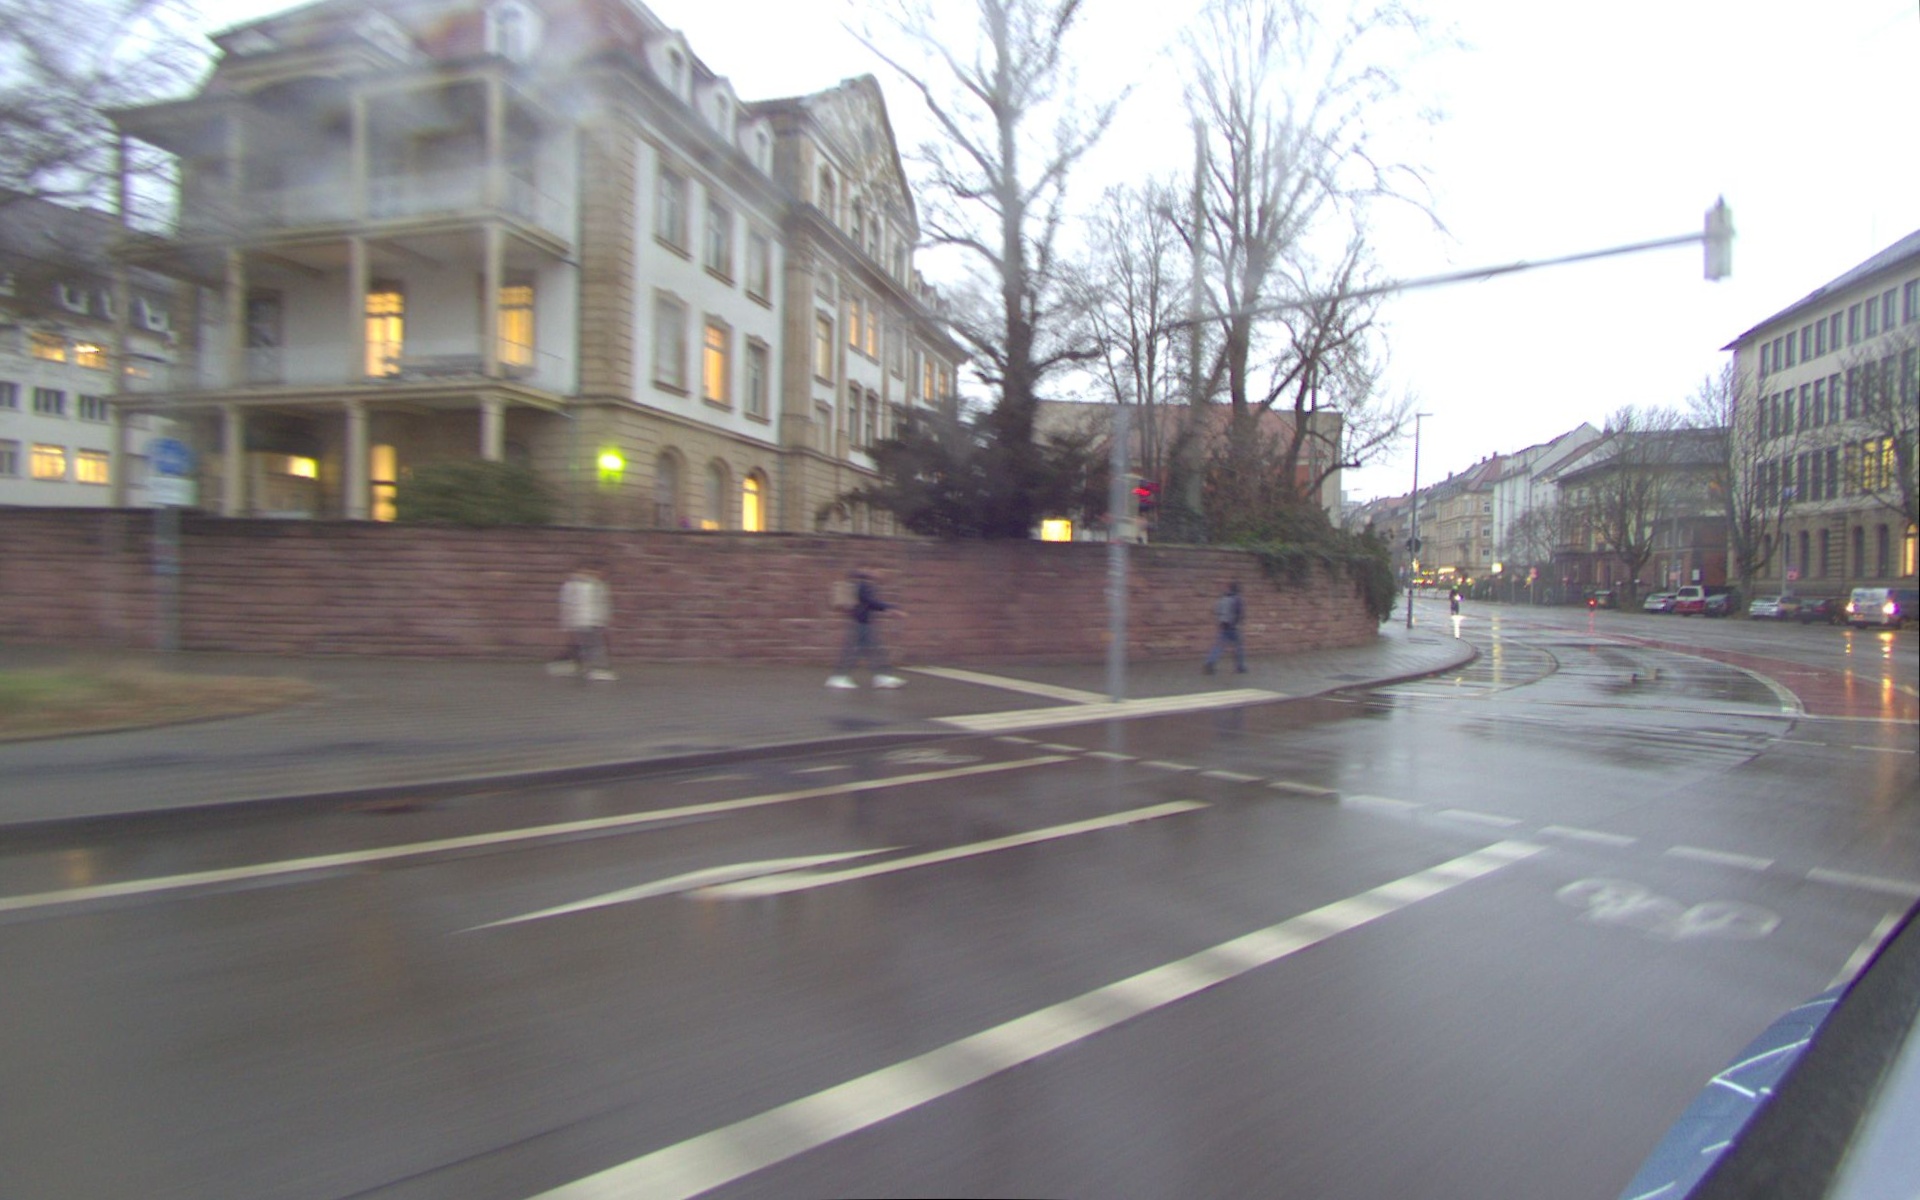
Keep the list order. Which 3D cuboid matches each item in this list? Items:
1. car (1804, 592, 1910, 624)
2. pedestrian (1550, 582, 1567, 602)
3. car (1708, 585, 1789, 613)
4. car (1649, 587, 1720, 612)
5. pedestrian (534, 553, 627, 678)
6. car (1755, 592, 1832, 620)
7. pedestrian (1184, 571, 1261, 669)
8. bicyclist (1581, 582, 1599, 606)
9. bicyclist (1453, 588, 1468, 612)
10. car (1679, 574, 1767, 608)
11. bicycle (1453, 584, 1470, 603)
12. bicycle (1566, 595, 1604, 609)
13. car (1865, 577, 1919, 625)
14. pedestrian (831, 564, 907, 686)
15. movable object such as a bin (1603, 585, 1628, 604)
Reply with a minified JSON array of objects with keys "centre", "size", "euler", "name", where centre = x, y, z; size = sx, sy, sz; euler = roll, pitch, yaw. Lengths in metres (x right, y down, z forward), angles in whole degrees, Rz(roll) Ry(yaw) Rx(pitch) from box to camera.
[{"centre":[46.407,0.403,52.388],"size":[4.384,1.476,1.803],"euler":[-2,1,-11],"name":"car"},{"centre":[53.606,-0.709,90.655],"size":[0.905,1.724,0.949],"euler":[-1,1,-7],"name":"pedestrian"},{"centre":[48.564,-0.066,62.371],"size":[3.894,1.558,1.827],"euler":[-2,1,-12],"name":"car"},{"centre":[50.745,-0.039,70.871],"size":[4.097,1.610,1.779],"euler":[-2,1,-14],"name":"car"},{"centre":[-5.359,0.197,14.324],"size":[0.947,1.696,0.777],"euler":[2,2,11],"name":"pedestrian"},{"centre":[47.413,0.318,57.584],"size":[3.747,1.476,1.641],"euler":[-2,1,-18],"name":"car"},{"centre":[4.795,0.349,18.446],"size":[1.136,1.705,0.806],"euler":[1,2,-42],"name":"pedestrian"},{"centre":[44.168,-0.433,70.959],"size":[0.846,1.615,0.776],"euler":[2,2,20],"name":"bicyclist"},{"centre":[29.864,0.007,60.408],"size":[0.709,1.359,0.714],"euler":[-1,1,22],"name":"bicyclist"},{"centre":[49.302,-0.589,65.427],"size":[4.526,2.079,1.970],"euler":[-2,1,-12],"name":"car"},{"centre":[29.902,-0.379,60.312],"size":[0.716,1.104,2.268],"euler":[0,0,22],"name":"bicycle"},{"centre":[43.918,0.153,71.154],"size":[2.095,0.956,0.938],"euler":[-1,1,20],"name":"bicycle"},{"centre":[44.578,0.025,46.995],"size":[4.704,2.059,1.916],"euler":[-2,1,-22],"name":"car"},{"centre":[-1.326,0.342,14.695],"size":[0.788,1.696,0.720],"euler":[3,2,37],"name":"pedestrian"},{"centre":[53.306,-0.481,82.294],"size":[0.966,1.483,1.347],"euler":[-2,1,-22],"name":"movable object such as a bin"}]
